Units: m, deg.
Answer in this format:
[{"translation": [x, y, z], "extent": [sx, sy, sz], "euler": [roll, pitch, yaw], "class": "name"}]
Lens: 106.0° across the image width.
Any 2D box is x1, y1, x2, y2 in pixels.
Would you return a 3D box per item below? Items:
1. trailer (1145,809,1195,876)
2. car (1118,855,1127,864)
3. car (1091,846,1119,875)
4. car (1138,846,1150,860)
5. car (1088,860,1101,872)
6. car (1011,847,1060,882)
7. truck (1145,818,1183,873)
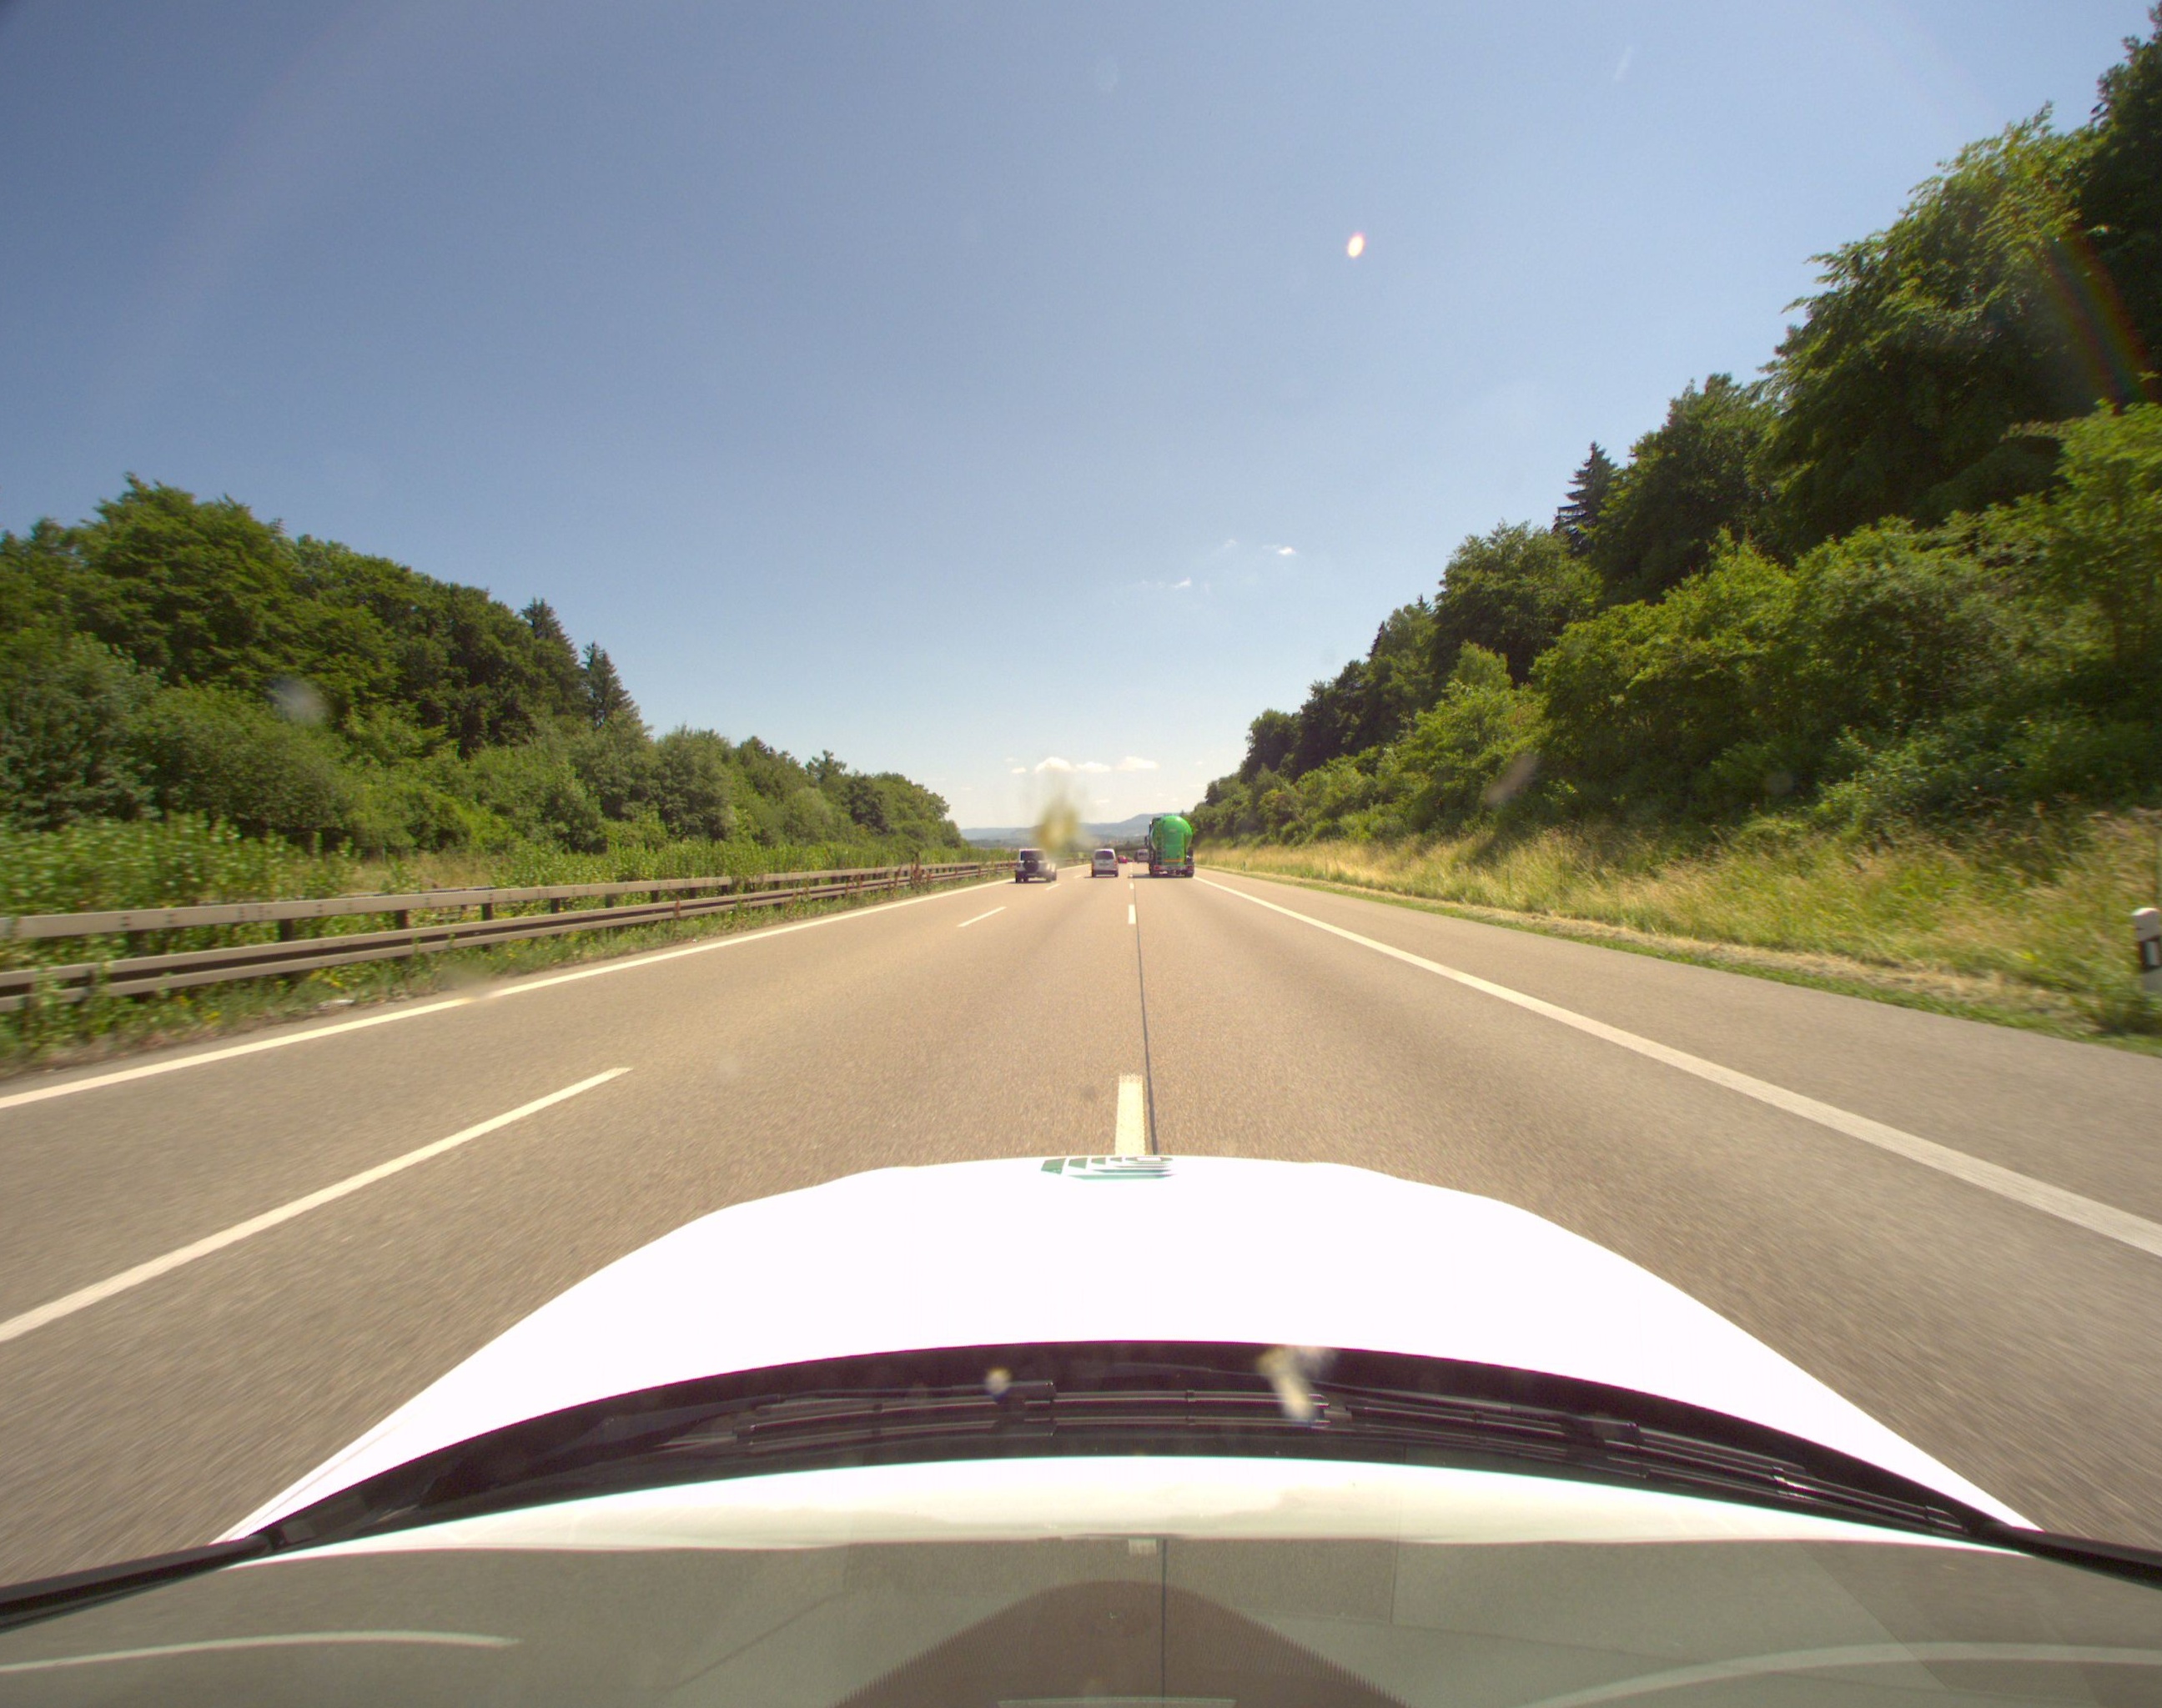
[{"translation": [5.795, -0.681, 54.460], "extent": [2.577, 4.028, 10.476], "euler": [-1, 0, 2], "class": "trailer"}, {"translation": [7.129, 0.879, 139.820], "extent": [1.438, 1.550, 3.362], "euler": [-1, 0, 6], "class": "car"}, {"translation": [1.614, 0.410, 54.806], "extent": [1.739, 1.829, 4.803], "euler": [-1, 0, 2], "class": "car"}, {"translation": [11.693, -0.130, 151.451], "extent": [2.080, 2.576, 6.630], "euler": [-1, 0, 5], "class": "car"}, {"translation": [2.216, 1.975, 137.426], "extent": [1.985, 2.013, 4.004], "euler": [-1, 0, 3], "class": "car"}, {"translation": [-2.462, 0.530, 45.415], "extent": [2.073, 1.829, 4.760], "euler": [-1, 0, 5], "class": "car"}, {"translation": [6.024, -0.589, 59.753], "extent": [2.500, 3.842, 4.895], "euler": [-1, 0, 2], "class": "truck"}]
